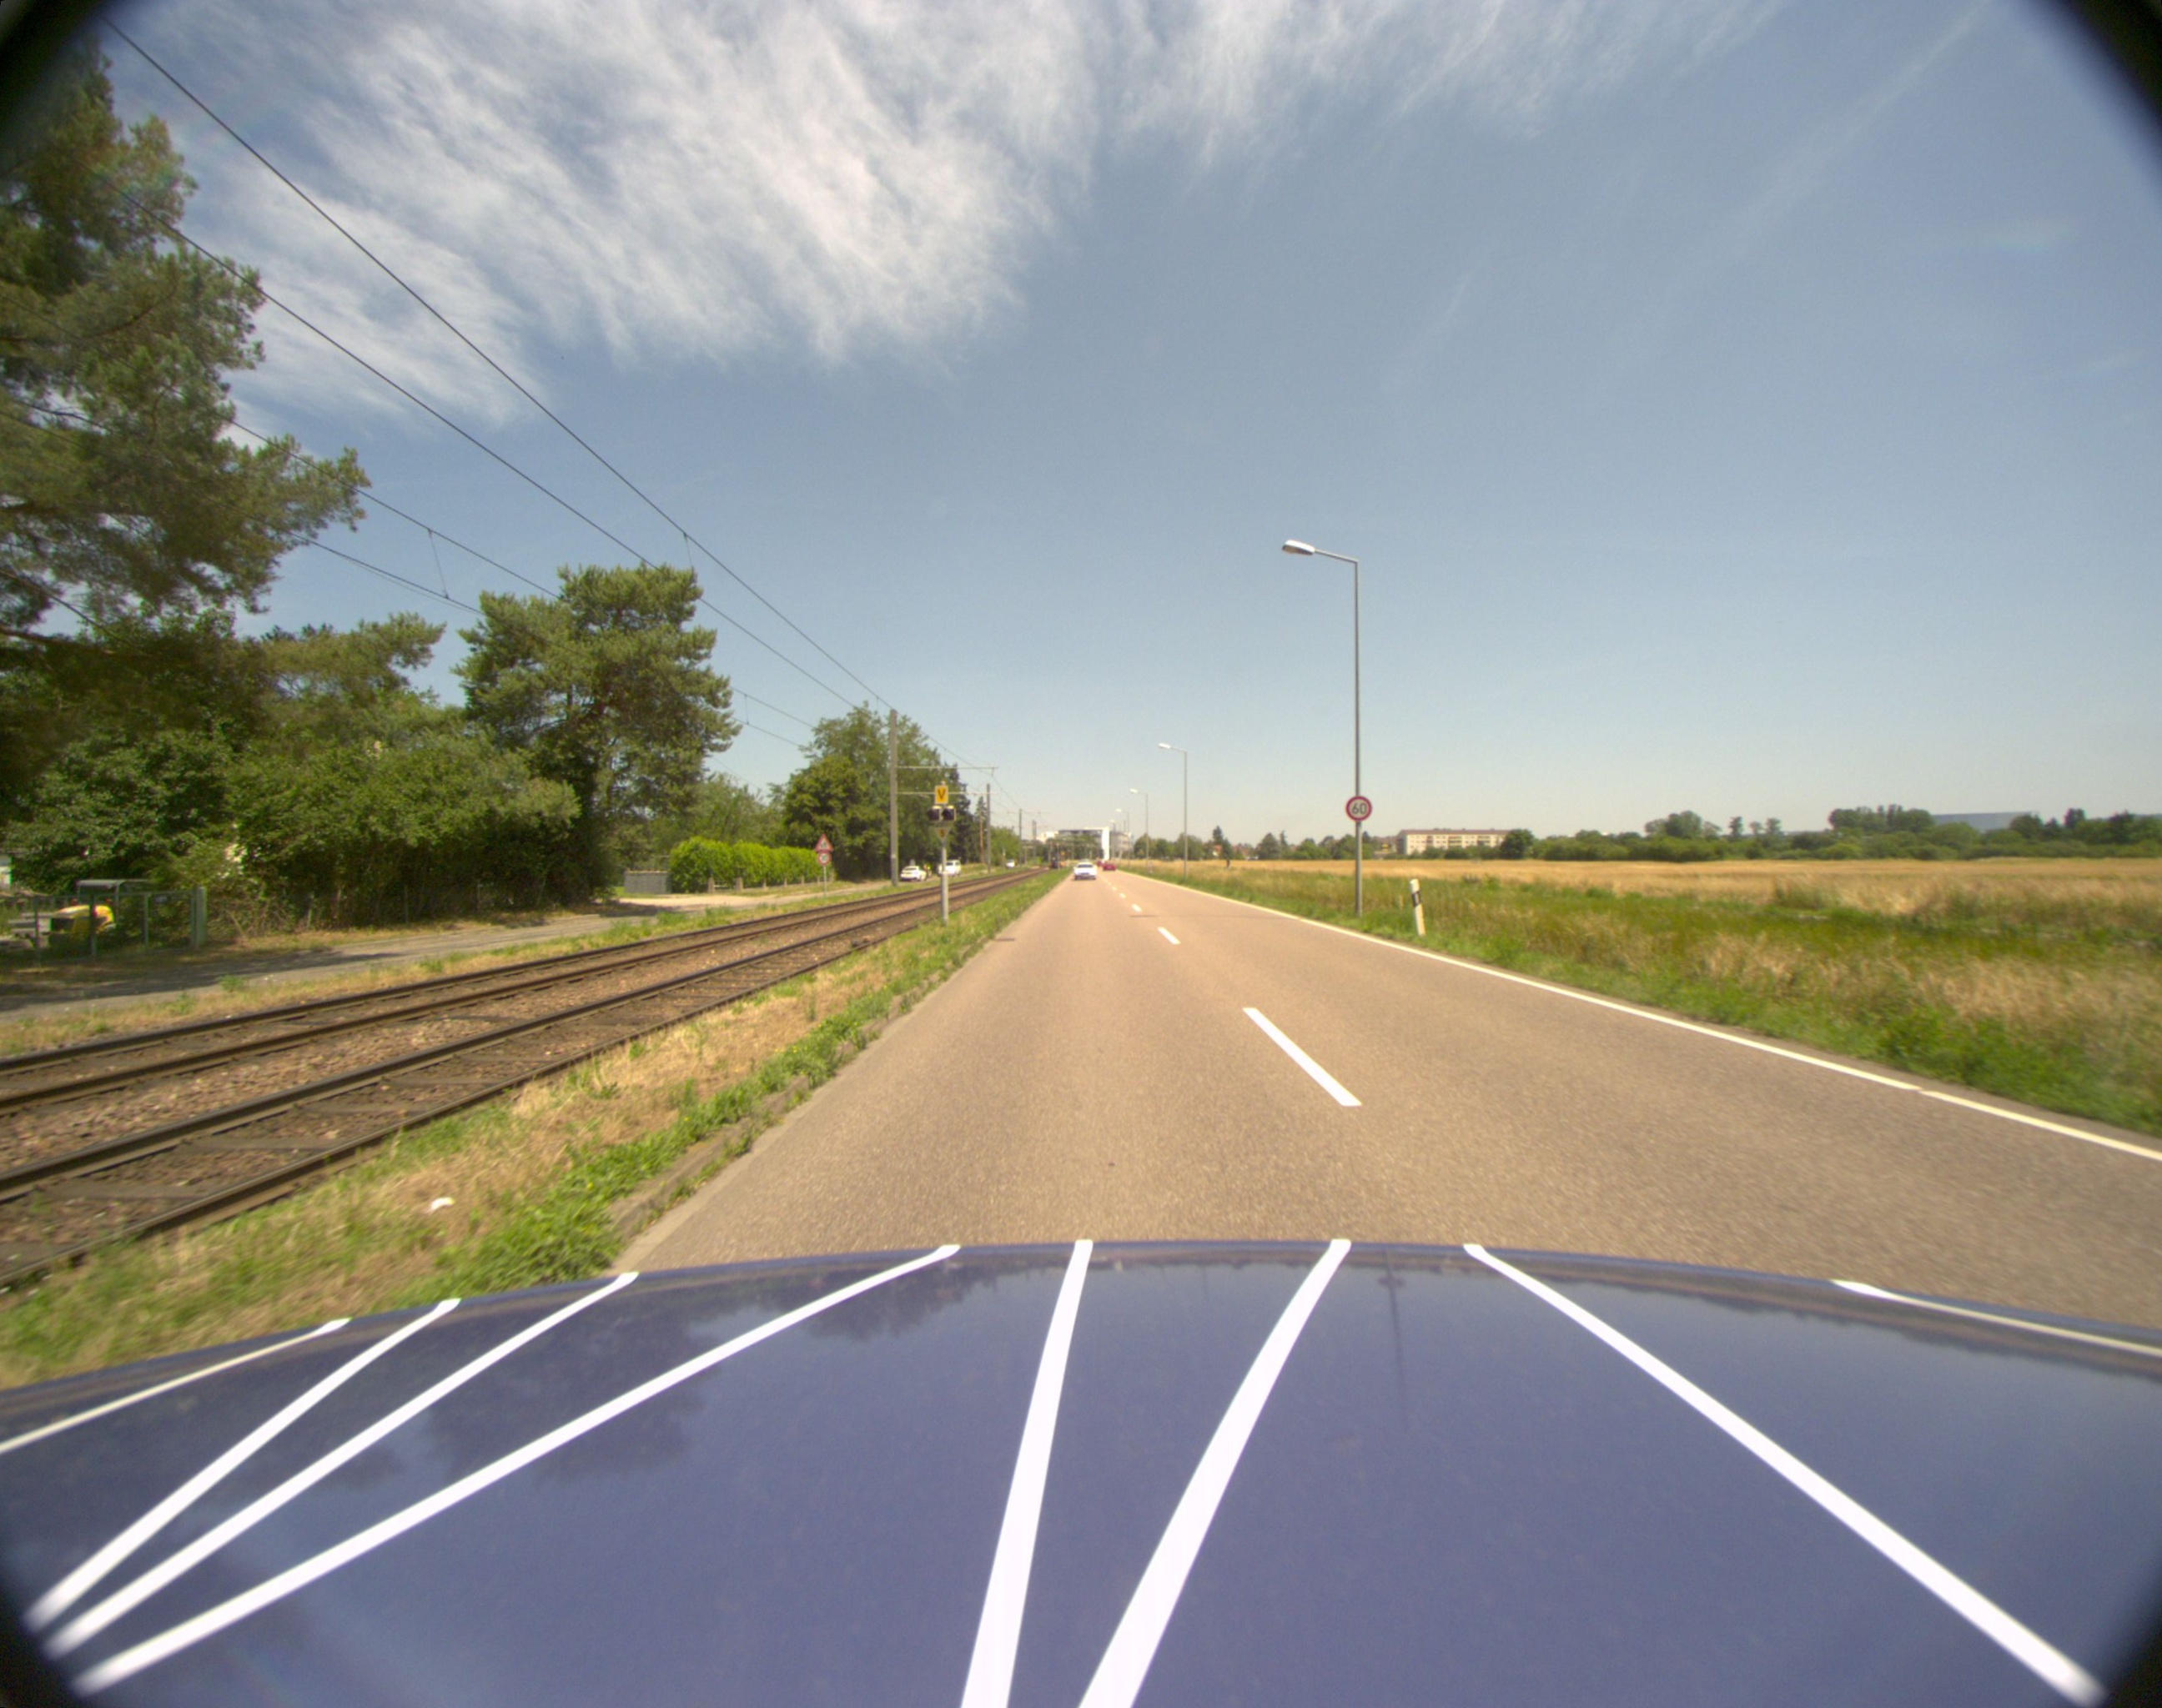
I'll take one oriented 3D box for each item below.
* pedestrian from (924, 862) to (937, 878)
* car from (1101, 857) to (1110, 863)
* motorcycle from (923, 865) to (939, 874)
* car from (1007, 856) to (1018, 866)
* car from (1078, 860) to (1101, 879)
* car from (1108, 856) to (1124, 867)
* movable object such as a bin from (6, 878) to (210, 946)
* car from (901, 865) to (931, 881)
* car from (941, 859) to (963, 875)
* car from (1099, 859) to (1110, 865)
[{"bbox_3d":[-16.149,1.672,81.560,1.171,1.653,0.880,-2,1,5],"label":"pedestrian"},{"bbox_3d":[6.195,1.529,191.461,2.254,1.254,3.890,-2,0,1],"label":"car"},{"bbox_3d":[-16.125,1.668,81.628,0.858,0.902,2.791,-2,0,5],"label":"motorcycle"},{"bbox_3d":[-15.214,1.510,169.517,1.944,2.111,4.587,-2,0,1],"label":"car"},{"bbox_3d":[0.740,1.290,64.141,1.856,1.447,3.706,-2,0,1],"label":"car"},{"bbox_3d":[5.229,1.131,115.102,2.254,1.677,3.890,-2,0,1],"label":"car"},{"bbox_3d":[-25.913,1.499,20.372,1.998,1.622,2.694,0,0,0],"label":"movable object such as a bin"},{"bbox_3d":[-15.594,1.768,71.966,1.923,1.376,4.000,-2,0,1],"label":"car"},{"bbox_3d":[-15.517,1.577,91.629,1.863,1.816,4.587,-2,0,1],"label":"car"},{"bbox_3d":[5.112,1.801,167.665,2.254,1.254,4.365,-2,0,1],"label":"car"}]
